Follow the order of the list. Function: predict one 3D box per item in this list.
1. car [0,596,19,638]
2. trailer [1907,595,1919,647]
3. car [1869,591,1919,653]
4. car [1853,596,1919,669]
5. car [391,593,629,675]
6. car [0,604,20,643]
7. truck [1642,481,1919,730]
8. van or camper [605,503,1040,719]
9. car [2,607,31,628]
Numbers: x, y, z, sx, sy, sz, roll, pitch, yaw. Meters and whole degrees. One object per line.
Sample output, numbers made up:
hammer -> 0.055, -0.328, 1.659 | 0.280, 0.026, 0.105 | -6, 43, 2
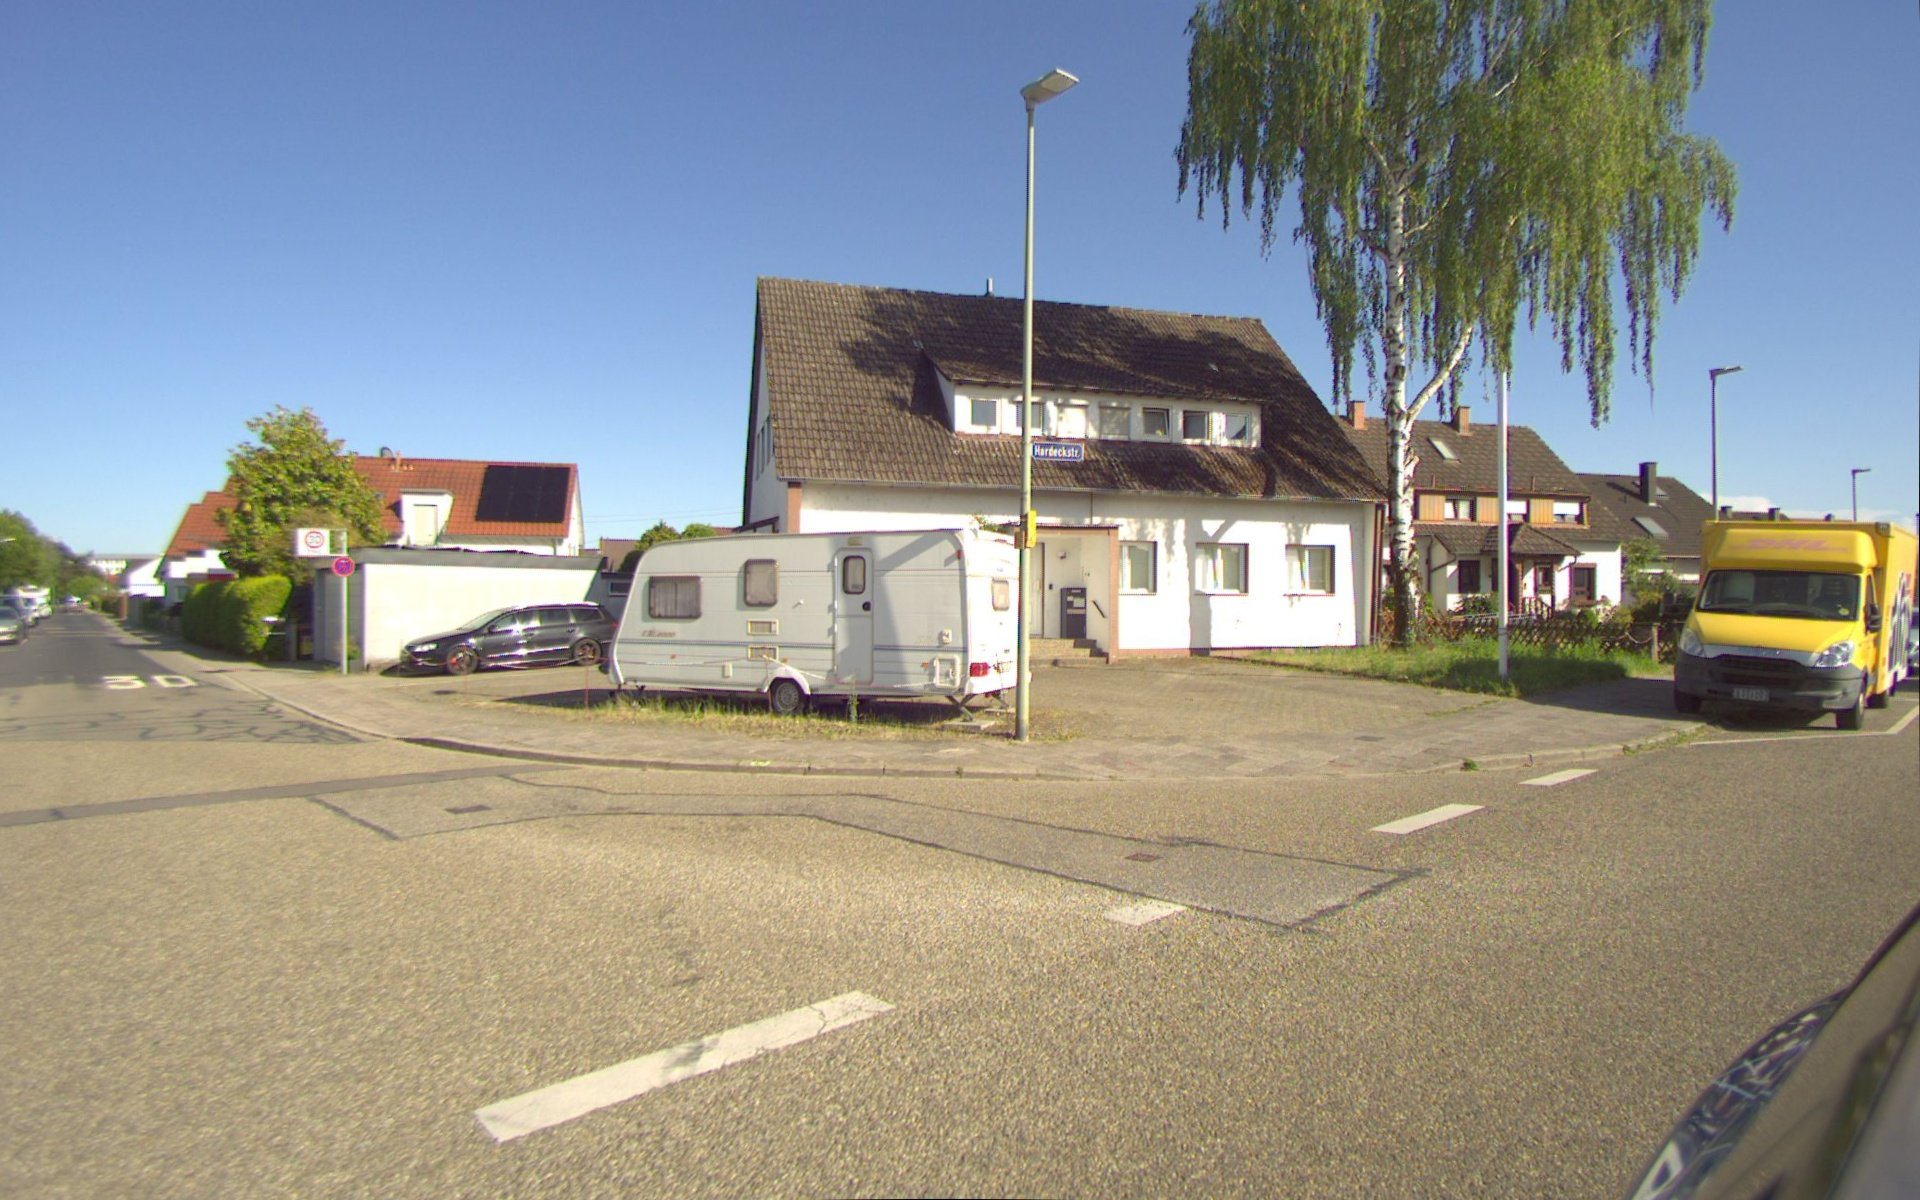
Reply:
car -> -41.724, 0.711, 43.625 | 1.622, 1.739, 3.742 | 0, 0, -41
trailer -> 30.367, 0.616, 31.038 | 3.142, 1.558, 1.630 | 0, 0, -41
car -> 25.706, 0.548, 26.870 | 3.969, 1.562, 1.678 | 0, -1, -39
car -> 21.854, 0.679, 23.257 | 1.784, 1.562, 4.464 | 0, 0, 44
car -> -10.028, 0.694, 22.769 | 4.552, 1.455, 1.718 | -4, 2, -41
car -> -36.824, 0.877, 38.392 | 1.622, 1.430, 3.742 | 0, 0, -41
truck -> 12.753, -0.016, 15.321 | 6.897, 2.973, 2.406 | -1, 2, -42
van or camper -> -1.958, 0.125, 14.255 | 5.767, 2.573, 2.272 | 0, 0, 24
car -> -56.842, 1.025, 60.945 | 1.228, 1.206, 2.671 | 0, 0, -45
